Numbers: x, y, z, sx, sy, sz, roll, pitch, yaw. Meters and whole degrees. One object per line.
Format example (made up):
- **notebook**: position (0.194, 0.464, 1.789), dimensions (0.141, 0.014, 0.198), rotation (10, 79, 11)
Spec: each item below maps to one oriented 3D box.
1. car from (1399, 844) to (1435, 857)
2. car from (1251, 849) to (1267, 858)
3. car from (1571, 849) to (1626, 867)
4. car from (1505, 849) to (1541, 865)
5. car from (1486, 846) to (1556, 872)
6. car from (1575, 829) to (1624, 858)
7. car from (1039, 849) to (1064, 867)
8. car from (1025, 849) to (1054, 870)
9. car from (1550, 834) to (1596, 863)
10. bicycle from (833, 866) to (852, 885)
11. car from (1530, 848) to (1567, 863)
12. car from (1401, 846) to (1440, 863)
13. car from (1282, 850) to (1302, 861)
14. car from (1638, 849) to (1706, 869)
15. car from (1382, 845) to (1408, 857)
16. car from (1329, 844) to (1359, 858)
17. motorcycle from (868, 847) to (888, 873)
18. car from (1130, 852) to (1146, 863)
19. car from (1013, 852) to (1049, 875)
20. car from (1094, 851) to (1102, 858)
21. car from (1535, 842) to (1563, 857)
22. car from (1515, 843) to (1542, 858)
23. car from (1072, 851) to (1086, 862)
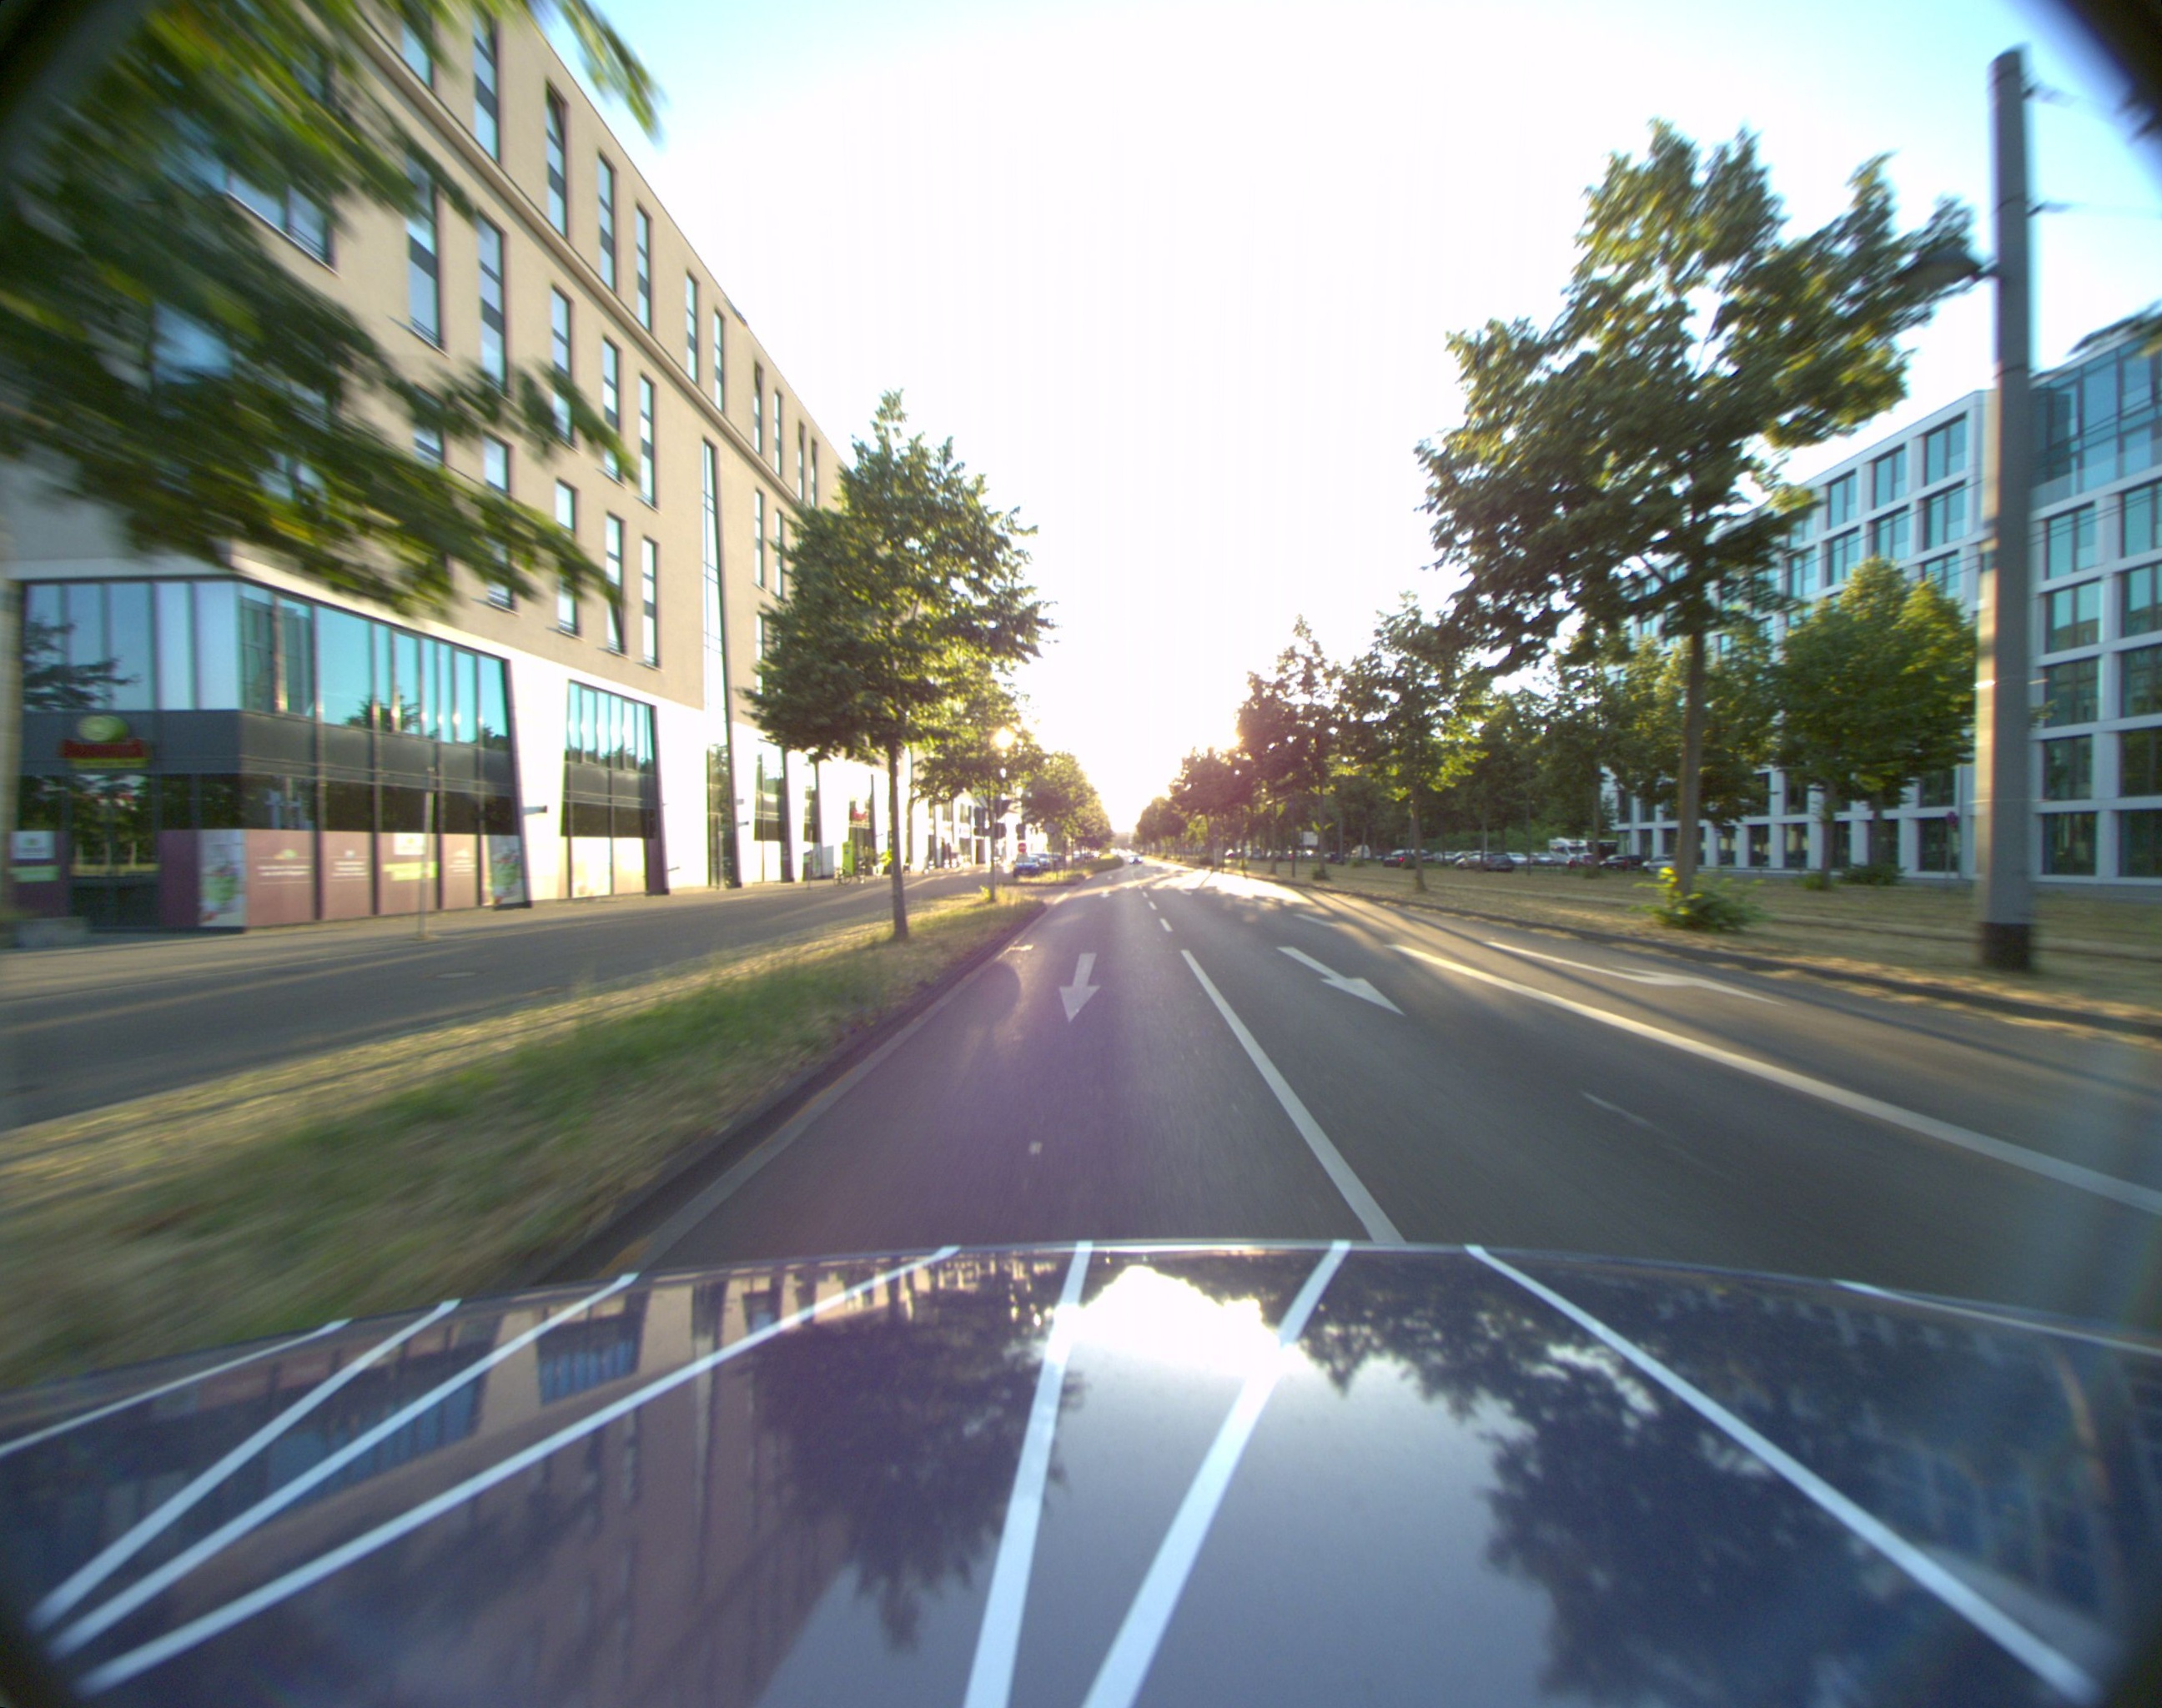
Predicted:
- **car**: position (46.676, -0.460, 105.535), dimensions (4.082, 1.731, 2.000), rotation (0, 1, 0)
- **car**: position (28.706, -0.047, 122.657), dimensions (1.649, 1.395, 4.000), rotation (0, 1, 1)
- **car**: position (41.903, 0.294, 61.600), dimensions (1.763, 1.395, 4.000), rotation (0, 1, 1)
- **car**: position (47.761, 0.295, 82.151), dimensions (1.997, 1.583, 4.002), rotation (0, 1, 9)
- **car**: position (24.663, 0.237, 42.731), dimensions (1.649, 1.395, 4.000), rotation (0, 1, 1)
- **car**: position (55.691, -1.104, 81.771), dimensions (2.163, 2.974, 5.725), rotation (0, 1, 10)
- **car**: position (-2.686, 0.345, 69.593), dimensions (1.998, 1.595, 4.000), rotation (0, 1, 2)
- **car**: position (-3.364, 0.435, 62.676), dimensions (1.998, 1.595, 4.000), rotation (0, 1, 2)
- **car**: position (52.874, -0.583, 81.838), dimensions (2.163, 2.974, 5.725), rotation (0, 1, 10)
- **bicycle**: position (-11.446, 1.006, 36.395), dimensions (0.547, 0.856, 1.573), rotation (-1, 1, -30)
- **car**: position (50.127, 0.140, 81.543), dimensions (1.997, 1.583, 4.002), rotation (0, 1, 9)
- **car**: position (29.009, 0.054, 65.071), dimensions (1.649, 1.395, 4.000), rotation (0, 1, 1)
- **car**: position (27.879, 0.172, 100.380), dimensions (1.649, 1.395, 4.000), rotation (0, 1, 1)
- **car**: position (41.531, 0.326, 53.488), dimensions (1.763, 1.395, 4.000), rotation (0, 1, 1)
- **car**: position (45.424, -0.463, 110.047), dimensions (1.998, 1.731, 4.611), rotation (0, 1, 2)
- **car**: position (26.452, -0.296, 76.530), dimensions (1.649, 1.395, 4.000), rotation (0, 1, 1)
- **motorcycle**: position (-13.521, 0.385, 50.662), dimensions (0.690, 1.689, 2.123), rotation (0, 1, 2)
- **car**: position (7.871, 0.468, 105.656), dimensions (1.998, 1.474, 4.335), rotation (0, 1, 2)
- **car**: position (-3.305, 0.620, 51.306), dimensions (1.998, 1.455, 4.000), rotation (0, 1, 2)
- **car**: position (4.259, 0.063, 191.255), dimensions (1.998, 1.595, 4.000), rotation (0, 1, 2)
- **car**: position (56.903, -0.563, 92.468), dimensions (1.849, 1.801, 4.004), rotation (0, 1, 15)
- **car**: position (54.922, -0.401, 93.280), dimensions (1.849, 1.801, 4.004), rotation (0, 1, 15)
- **car**: position (-0.354, 0.380, 120.458), dimensions (1.998, 1.595, 4.000), rotation (0, 1, 2)
